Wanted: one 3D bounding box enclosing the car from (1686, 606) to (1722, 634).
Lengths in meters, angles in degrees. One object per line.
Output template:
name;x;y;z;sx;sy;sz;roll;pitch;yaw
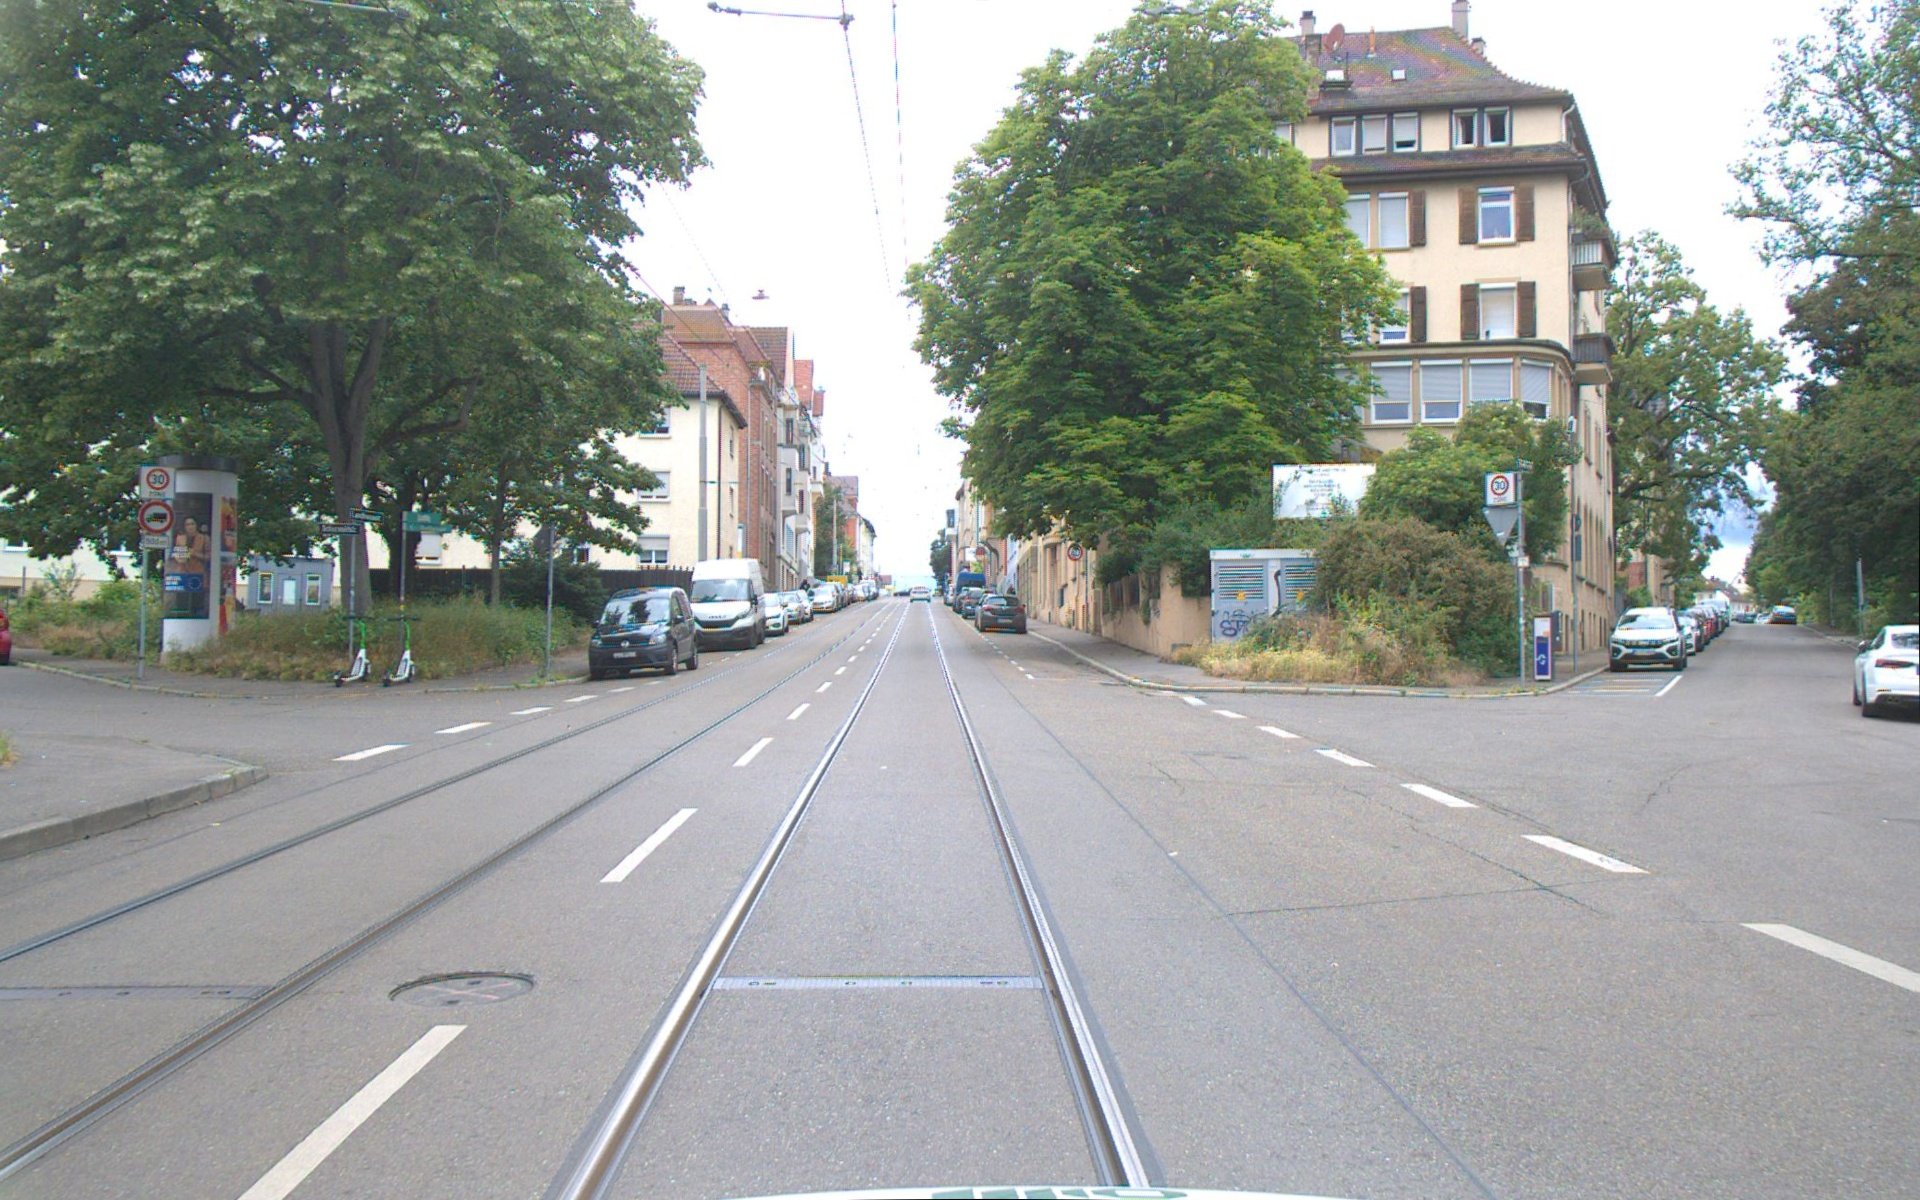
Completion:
car;43.875;1.171;97.490;1.710;1.568;3.783;-2;-1;27

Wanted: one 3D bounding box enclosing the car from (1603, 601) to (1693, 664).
car;18.214;0.834;43.698;1.805;1.561;4.499;-1;-1;28

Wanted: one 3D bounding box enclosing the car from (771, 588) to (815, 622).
car;-7.785;0.207;77.506;1.792;1.453;4.624;-3;1;-3

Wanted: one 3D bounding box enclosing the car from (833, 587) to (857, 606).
car;-9.177;-0.272;132.430;1.662;1.494;3.023;-2;0;-1

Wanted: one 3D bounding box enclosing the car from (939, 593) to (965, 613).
car;-0.609;0.211;124.404;1.715;1.415;4.305;2;0;-3

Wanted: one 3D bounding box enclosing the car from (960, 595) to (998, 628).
car;0.943;0.585;85.419;1.790;1.545;4.027;2;1;-1

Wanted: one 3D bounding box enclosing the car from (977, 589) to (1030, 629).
car;1.666;0.355;63.968;1.802;1.427;4.166;2;0;-1

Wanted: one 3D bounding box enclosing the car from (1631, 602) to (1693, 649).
car;24.519;0.879;57.691;1.710;1.568;3.783;-2;-1;27

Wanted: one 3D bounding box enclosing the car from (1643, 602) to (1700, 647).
car;26.565;0.916;61.706;1.710;1.568;3.783;-2;-1;27

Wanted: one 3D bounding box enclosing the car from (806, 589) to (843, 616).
car;-7.873;0.144;96.715;1.790;1.454;4.838;-2;1;-1

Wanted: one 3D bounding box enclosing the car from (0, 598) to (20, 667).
car;-22.130;0.683;36.985;1.633;1.440;3.687;1;0;-34

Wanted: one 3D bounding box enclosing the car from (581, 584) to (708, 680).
car;-6.634;0.626;35.287;1.726;1.806;4.668;-3;0;0

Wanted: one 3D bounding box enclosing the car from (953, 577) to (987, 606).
car;0.573;-0.474;97.547;1.744;1.557;4.190;4;0;-2

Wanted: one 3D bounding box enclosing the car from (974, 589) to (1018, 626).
car;1.505;0.307;70.439;1.661;1.428;3.667;2;1;-1

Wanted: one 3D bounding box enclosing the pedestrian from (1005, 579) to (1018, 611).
pedestrian;2.842;-0.288;91.542;0.531;1.711;0.515;-4;-2;-10

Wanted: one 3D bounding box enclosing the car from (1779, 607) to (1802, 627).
car;69.524;1.408;138.489;1.710;1.568;3.783;-2;-1;27

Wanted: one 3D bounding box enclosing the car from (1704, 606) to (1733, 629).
car;53.869;1.236;117.470;1.710;1.568;3.783;-2;-1;27

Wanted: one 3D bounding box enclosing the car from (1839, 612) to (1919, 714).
car;15.010;0.957;25.951;1.857;1.405;4.596;3;1;25

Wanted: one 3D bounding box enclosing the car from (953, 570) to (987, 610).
car;0.608;-0.632;103.184;1.953;2.418;5.054;1;0;-1

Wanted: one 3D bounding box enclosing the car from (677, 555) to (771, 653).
car;-6.989;0.070;49.664;2.115;2.652;6.215;-3;1;-3

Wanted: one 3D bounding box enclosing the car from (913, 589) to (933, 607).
car;-3.265;-0.205;145.478;1.638;1.539;3.795;0;0;-3

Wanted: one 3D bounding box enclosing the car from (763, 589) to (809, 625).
car;-7.646;0.292;72.963;1.568;1.392;3.807;-3;1;0

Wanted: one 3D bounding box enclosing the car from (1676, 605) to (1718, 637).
car;37.328;1.076;83.736;1.710;1.568;3.783;-2;-1;27

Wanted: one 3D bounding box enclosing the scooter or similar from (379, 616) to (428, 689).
scooter or similar;-9.704;0.902;28.865;0.305;1.165;1.717;0;2;-1

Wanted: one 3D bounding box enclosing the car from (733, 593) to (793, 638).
car;-7.037;0.539;59.377;1.684;1.427;4.312;-3;1;-1

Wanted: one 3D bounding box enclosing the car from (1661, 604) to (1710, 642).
car;31.464;0.994;71.699;1.710;1.568;3.783;-2;-1;27

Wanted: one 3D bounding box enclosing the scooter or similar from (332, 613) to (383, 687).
scooter or similar;-10.412;0.850;28.625;0.305;1.165;1.717;0;2;-1

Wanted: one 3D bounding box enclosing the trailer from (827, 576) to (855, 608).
trailer;-8.673;-0.606;120.705;1.713;2.193;4.070;-2;1;-1
